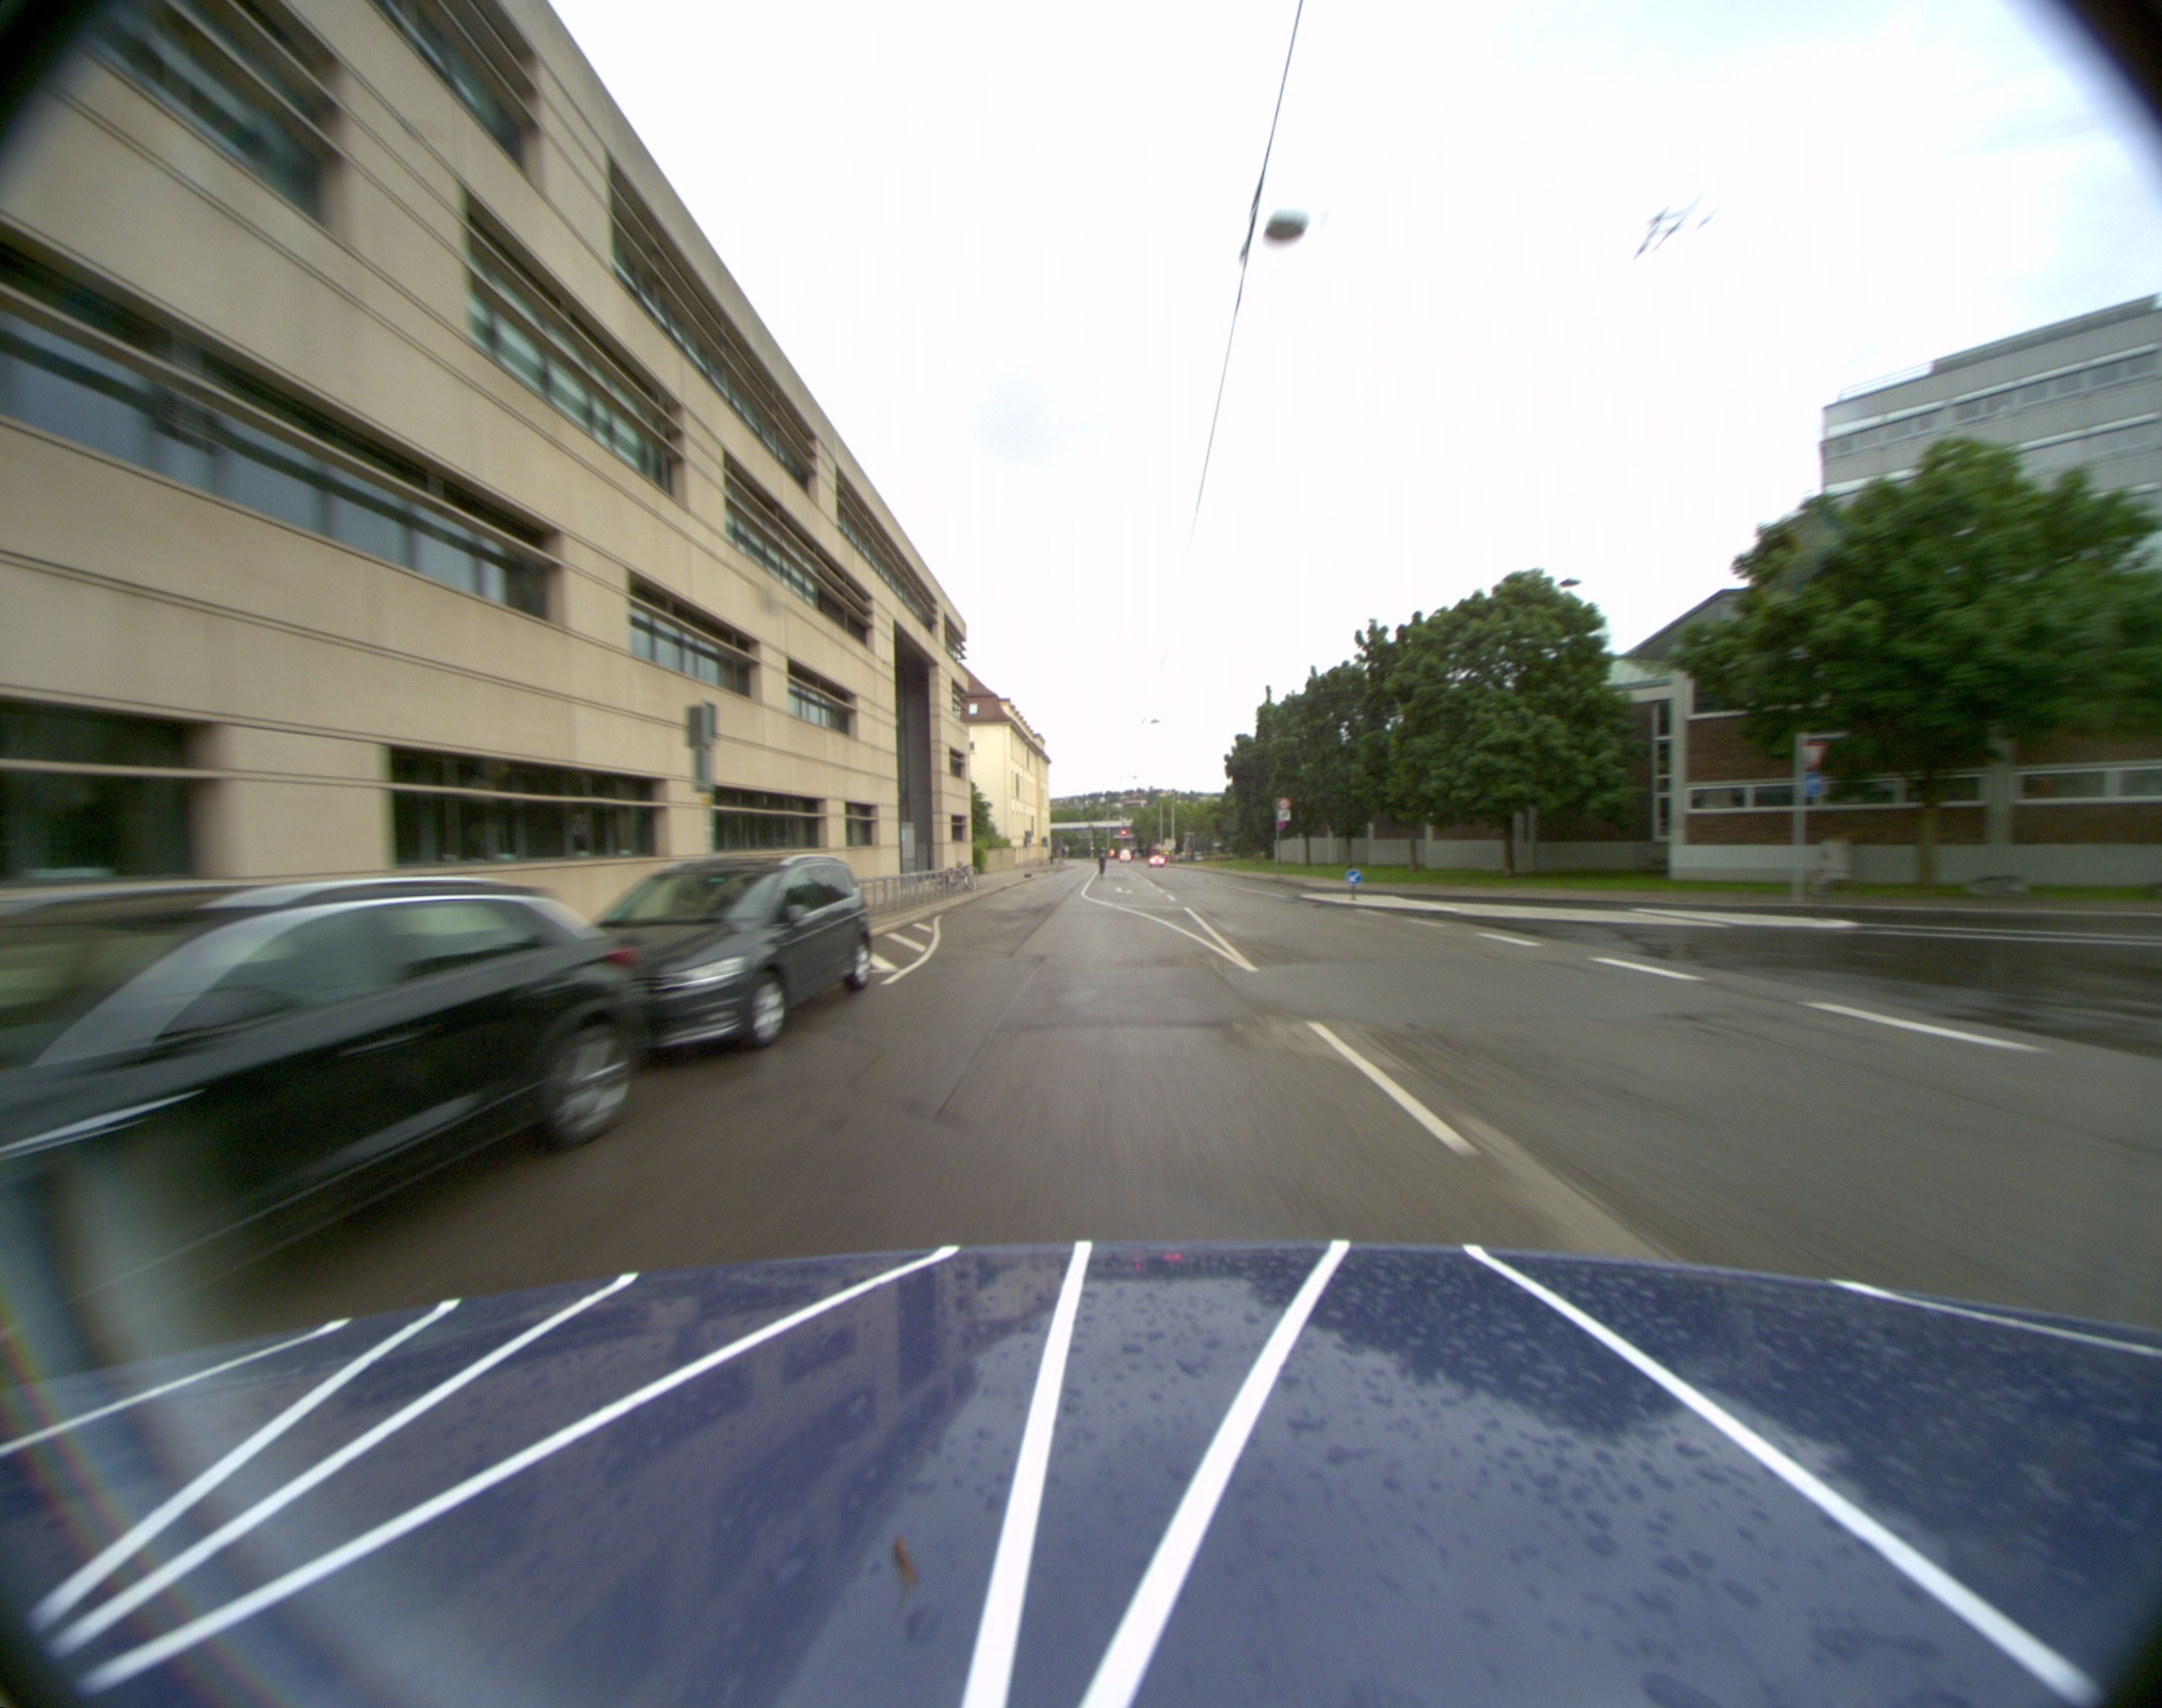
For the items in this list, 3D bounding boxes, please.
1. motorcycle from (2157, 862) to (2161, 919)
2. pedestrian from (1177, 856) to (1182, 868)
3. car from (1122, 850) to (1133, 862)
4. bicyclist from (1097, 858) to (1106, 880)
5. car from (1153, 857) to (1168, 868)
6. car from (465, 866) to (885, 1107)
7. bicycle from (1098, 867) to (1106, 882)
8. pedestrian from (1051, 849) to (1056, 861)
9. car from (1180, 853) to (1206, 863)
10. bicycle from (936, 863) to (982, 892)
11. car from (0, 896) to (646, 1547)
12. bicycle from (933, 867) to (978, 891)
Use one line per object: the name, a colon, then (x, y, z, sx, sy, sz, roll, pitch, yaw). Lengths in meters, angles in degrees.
motorcycle: (23.010, 0.743, 15.455, 1.224, 1.178, 0.414, -2, 1, 39)
pedestrian: (13.678, 1.102, 105.677, 0.671, 1.677, 0.914, -2, 1, 9)
car: (9.825, 0.444, 162.120, 1.988, 2.514, 5.632, 0, 0, 0)
bicyclist: (1.405, 1.026, 51.524, 0.485, 1.425, 0.930, -2, 1, 4)
car: (10.953, 1.145, 104.890, 1.885, 1.482, 5.222, 1, 0, 5)
car: (-3.503, 0.996, 7.687, 1.775, 1.594, 4.394, -2, 0, 1)
bicycle: (1.411, 1.390, 51.587, 0.448, 0.957, 1.690, -2, -1, 4)
pedestrian: (-4.208, 0.172, 118.050, 0.671, 1.787, 0.852, 0, 0, 4)
car: (19.380, 0.680, 131.525, 1.871, 1.600, 4.516, -3, 0, -32)
bicycle: (-4.944, 0.942, 30.891, 1.734, 1.112, 0.659, -1, 1, -3)
car: (-3.684, 1.087, 2.722, 1.729, 1.503, 4.057, -4, 1, 2)
bicycle: (-5.260, 1.051, 31.885, 1.763, 0.947, 0.659, -1, 1, -1)
